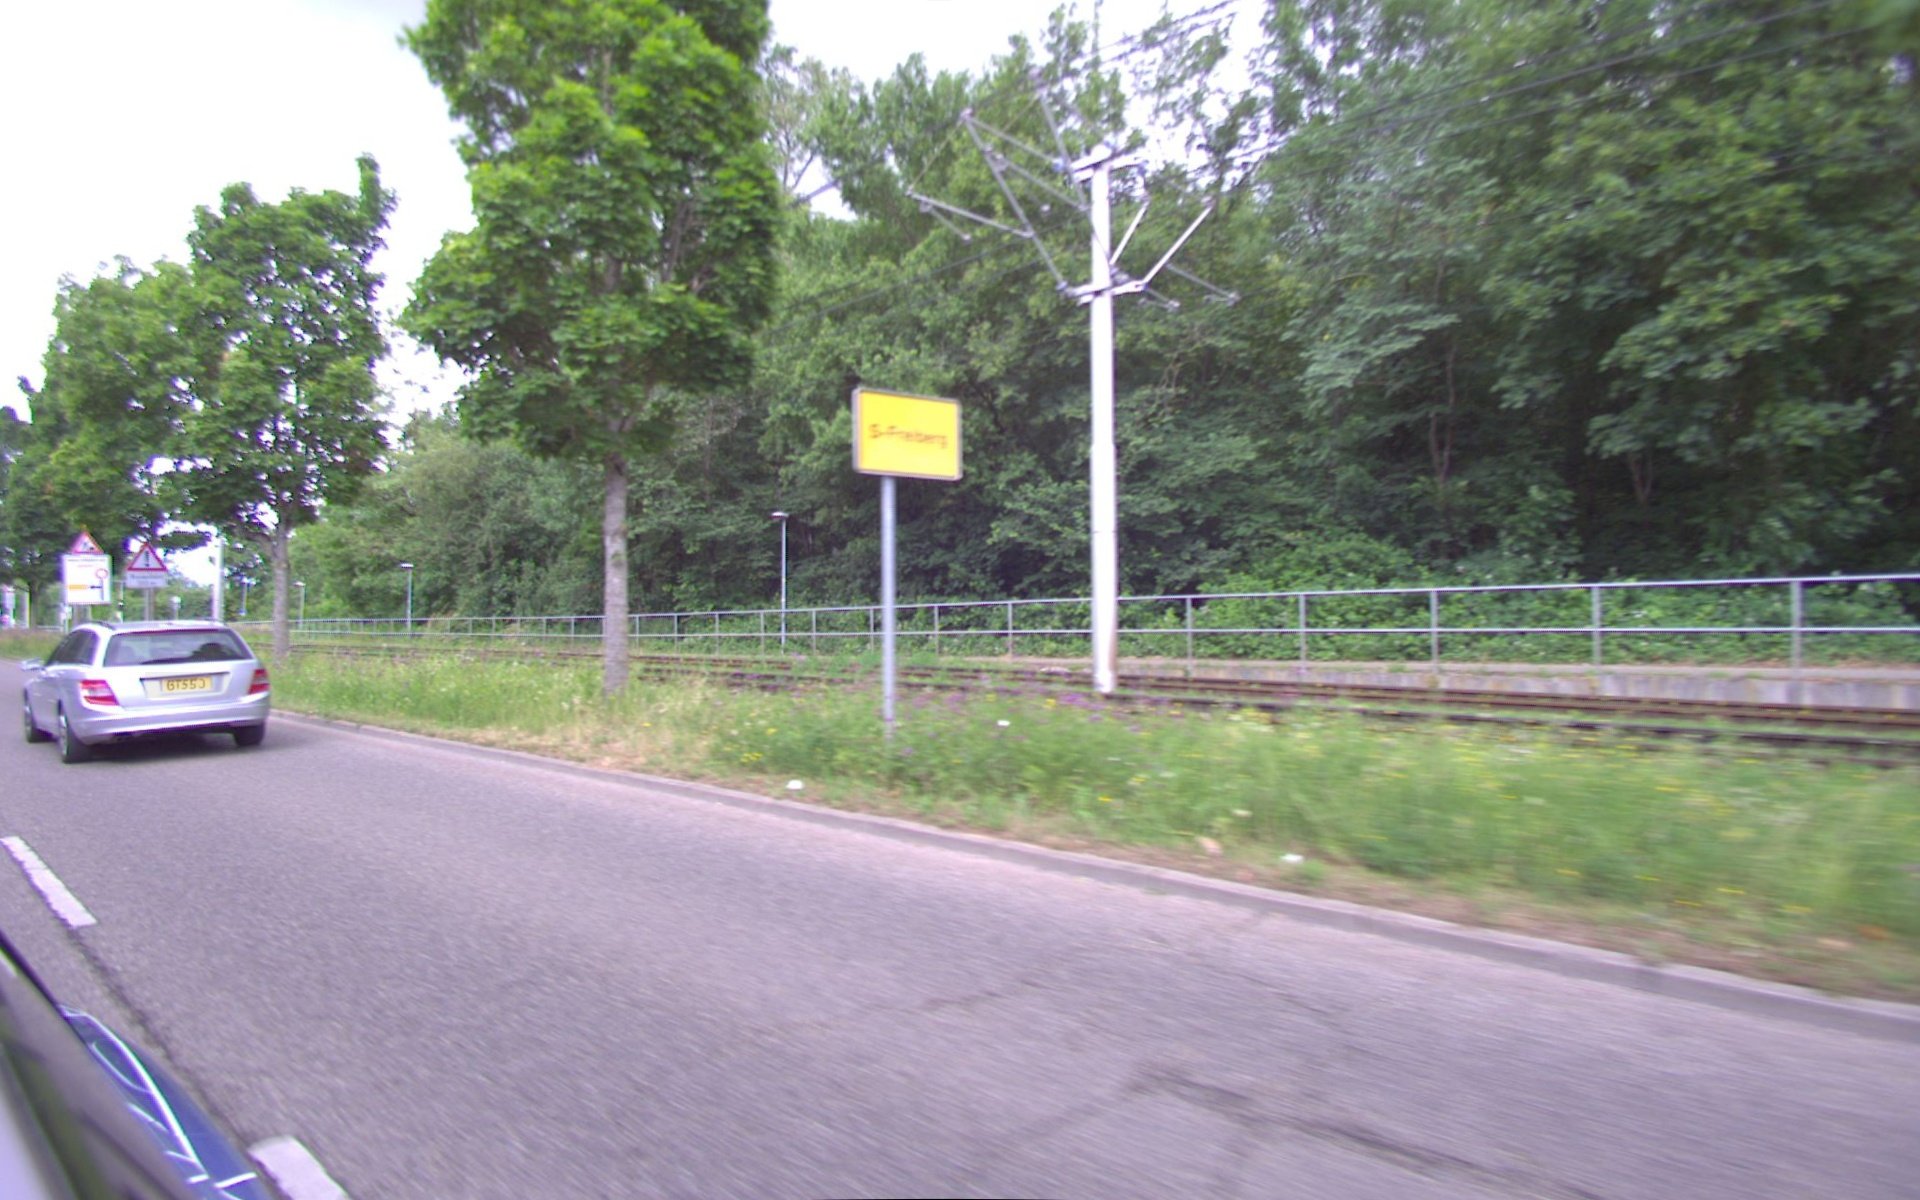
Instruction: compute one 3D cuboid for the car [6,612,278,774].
[{"bbox_3d":[-9.425,0.917,11.535,4.240,1.480,1.755,-2,-1,42],"label":"car"}]
